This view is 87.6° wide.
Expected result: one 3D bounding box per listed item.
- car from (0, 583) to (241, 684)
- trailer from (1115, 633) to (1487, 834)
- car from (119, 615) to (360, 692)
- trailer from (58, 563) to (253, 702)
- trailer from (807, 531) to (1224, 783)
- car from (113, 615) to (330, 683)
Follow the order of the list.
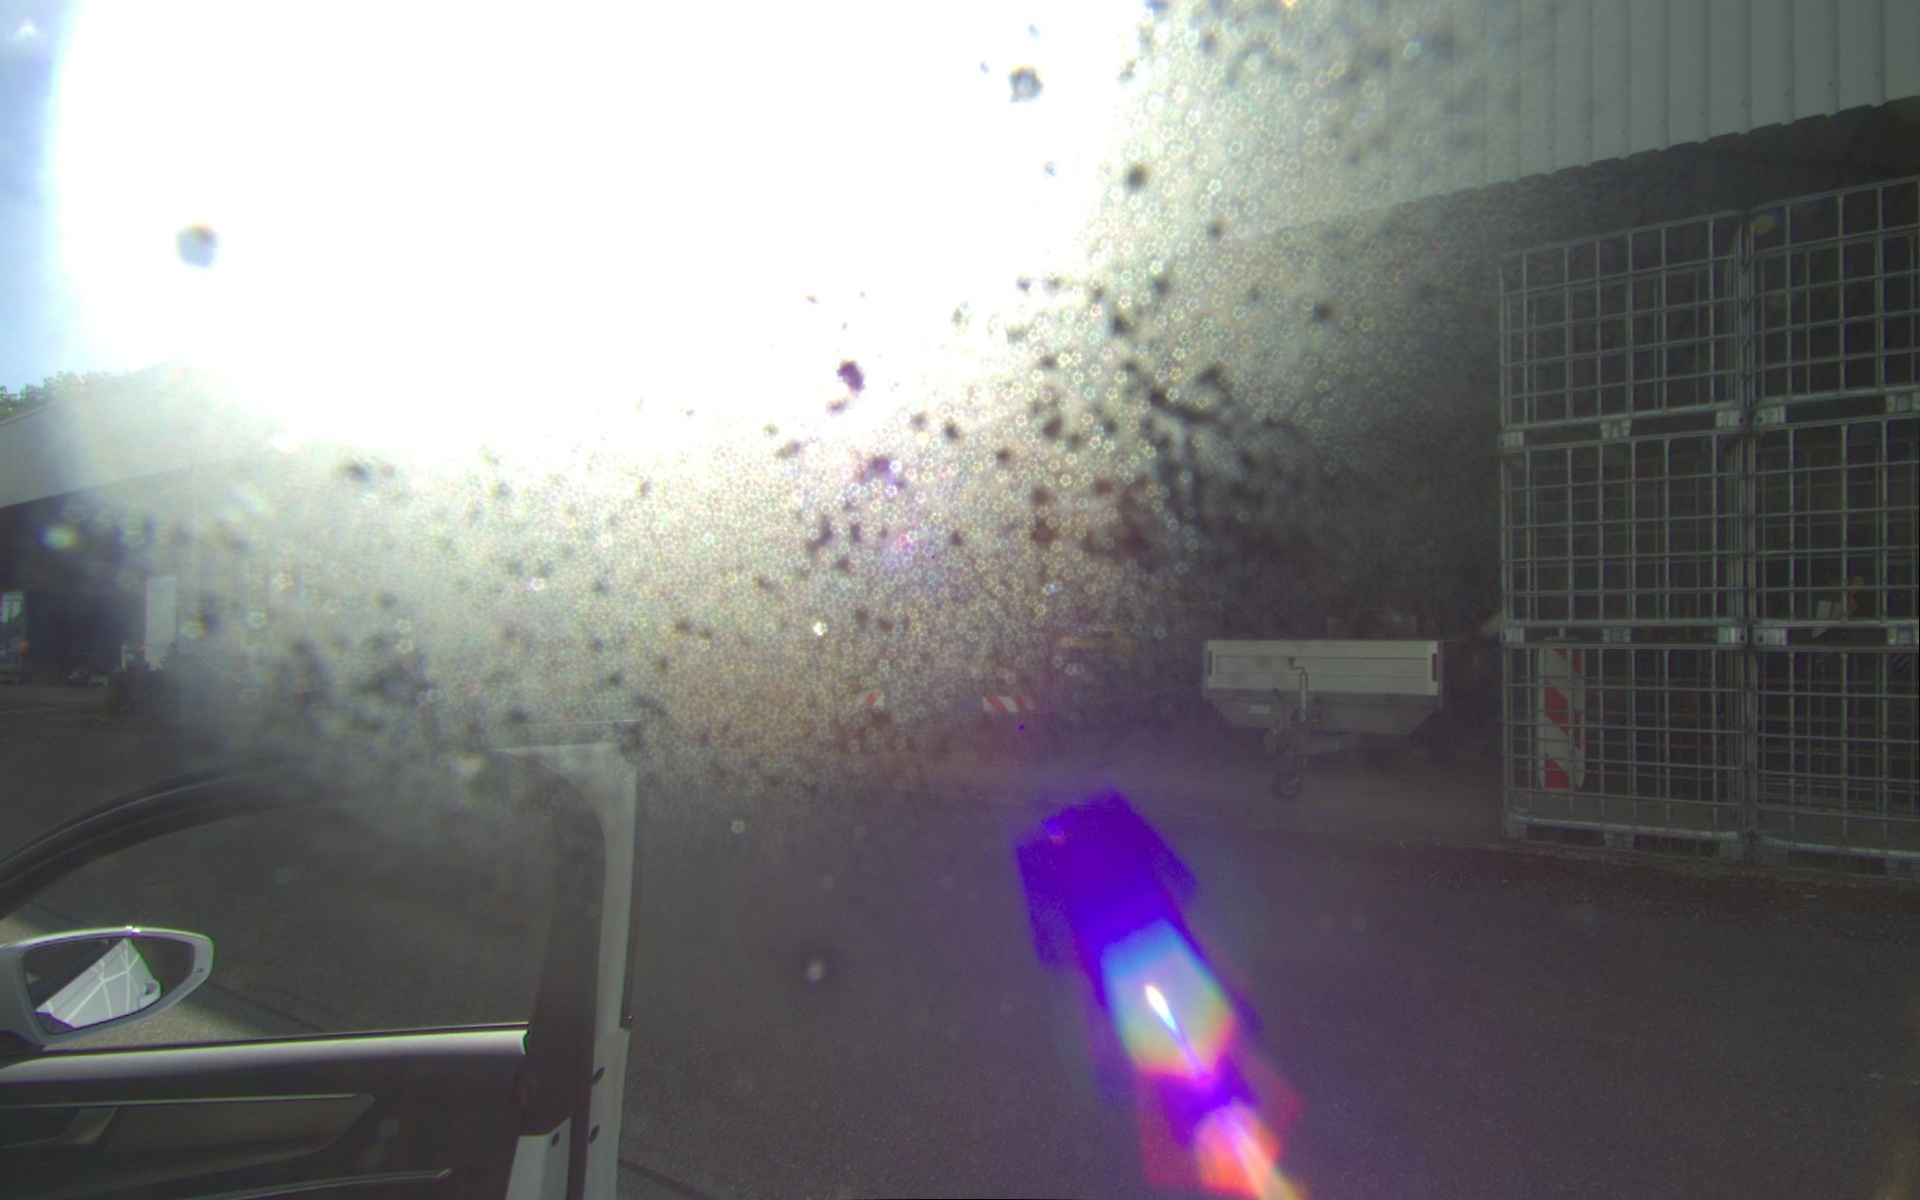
[{"bbox_3d":[-21.385,0.935,25.643,1.890,2.337,4.425,-3,-4,33],"label":"car"},{"bbox_3d":[3.490,0.915,9.179,2.110,1.148,5.840,-1,-1,30],"label":"trailer"},{"bbox_3d":[-15.893,1.224,22.298,1.662,1.543,4.031,-3,-5,33],"label":"car"},{"bbox_3d":[-15.278,0.630,19.098,1.703,2.429,2.518,-2,-2,33],"label":"trailer"},{"bbox_3d":[0.998,0.521,11.160,2.049,2.058,5.753,-1,-1,33],"label":"trailer"},{"bbox_3d":[-18.232,1.250,24.914,1.662,1.543,4.031,-3,-5,33],"label":"car"}]
